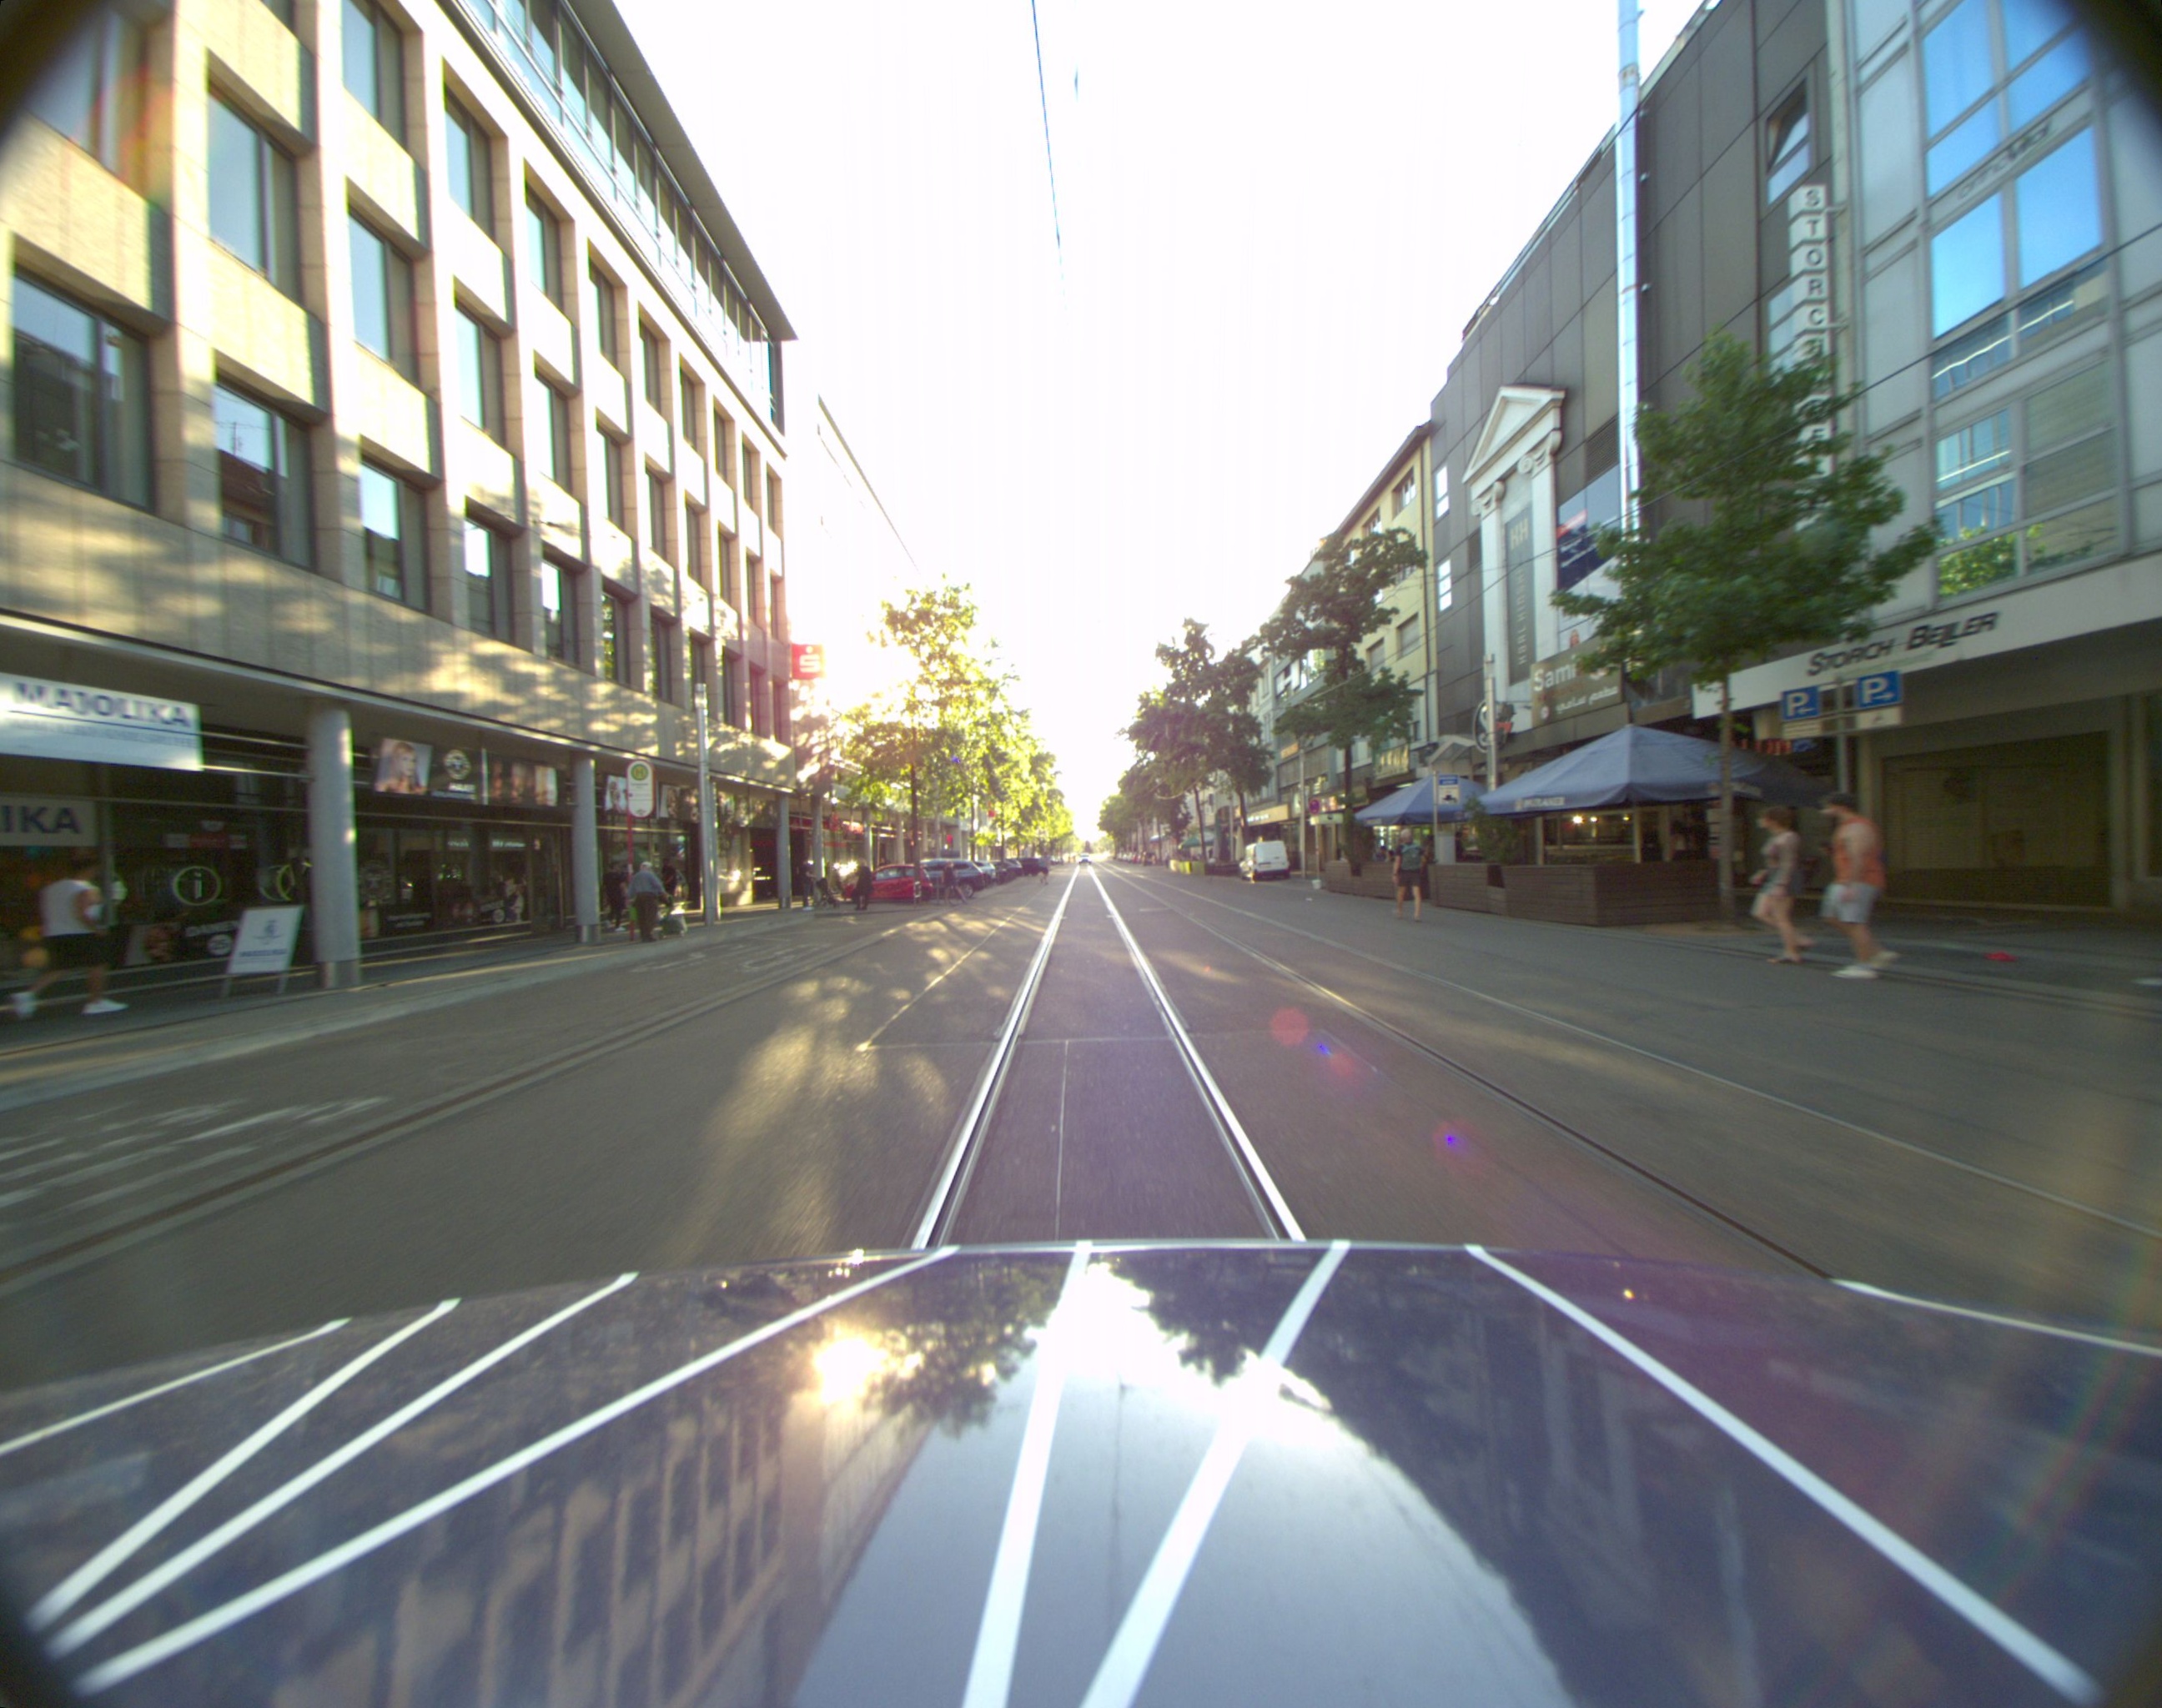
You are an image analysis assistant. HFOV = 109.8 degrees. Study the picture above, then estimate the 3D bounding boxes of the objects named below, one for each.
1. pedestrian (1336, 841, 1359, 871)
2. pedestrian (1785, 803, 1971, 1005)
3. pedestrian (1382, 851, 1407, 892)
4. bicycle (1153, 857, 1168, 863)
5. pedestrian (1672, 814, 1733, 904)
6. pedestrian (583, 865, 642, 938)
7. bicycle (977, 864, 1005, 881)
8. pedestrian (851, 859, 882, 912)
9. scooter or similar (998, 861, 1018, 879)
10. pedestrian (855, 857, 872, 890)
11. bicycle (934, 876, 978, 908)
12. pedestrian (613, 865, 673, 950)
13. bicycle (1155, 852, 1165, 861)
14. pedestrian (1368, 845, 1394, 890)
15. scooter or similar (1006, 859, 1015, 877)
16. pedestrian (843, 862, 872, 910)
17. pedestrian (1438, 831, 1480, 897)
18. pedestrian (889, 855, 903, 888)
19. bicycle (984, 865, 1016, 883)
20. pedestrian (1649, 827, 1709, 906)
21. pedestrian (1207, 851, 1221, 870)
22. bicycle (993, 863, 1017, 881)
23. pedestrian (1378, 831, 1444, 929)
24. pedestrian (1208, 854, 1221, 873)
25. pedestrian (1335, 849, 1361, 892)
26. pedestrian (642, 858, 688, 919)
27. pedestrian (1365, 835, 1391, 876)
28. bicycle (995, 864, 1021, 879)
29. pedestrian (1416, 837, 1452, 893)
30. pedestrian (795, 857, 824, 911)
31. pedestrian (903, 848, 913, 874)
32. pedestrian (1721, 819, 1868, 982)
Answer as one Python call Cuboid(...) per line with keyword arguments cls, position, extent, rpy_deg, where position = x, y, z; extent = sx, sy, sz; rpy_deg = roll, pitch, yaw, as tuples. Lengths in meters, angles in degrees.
Cuboid(cls="pedestrian", position=(13.447, 0.095, 38.310), extent=(0.771, 1.458, 0.765), rpy_deg=(-5, 1, -2))
Cuboid(cls="pedestrian", position=(7.316, 0.445, 7.034), extent=(0.850, 1.731, 0.836), rpy_deg=(-3, 1, 20))
Cuboid(cls="pedestrian", position=(9.573, 0.527, 23.197), extent=(0.496, 1.221, 0.535), rpy_deg=(-3, 1, 0))
Cuboid(cls="bicycle", position=(9.534, 0.729, 91.163), extent=(1.799, 0.605, 1.282), rpy_deg=(-3, 0, 4))
Cuboid(cls="pedestrian", position=(12.575, 0.101, 15.396), extent=(0.598, 1.735, 0.671), rpy_deg=(-4, 1, 1))
Cuboid(cls="pedestrian", position=(-10.745, 1.073, 17.441), extent=(0.697, 1.580, 0.925), rpy_deg=(-2, 1, 1))
Cuboid(cls="bicycle", position=(-6.013, 1.239, 50.840), extent=(1.697, 1.099, 0.631), rpy_deg=(1, 1, -26))
Cuboid(cls="pedestrian", position=(-6.909, 0.989, 24.492), extent=(0.679, 1.675, 0.697), rpy_deg=(1, 1, 34))
Cuboid(cls="scooter or similar", position=(-5.313, 1.145, 55.333), extent=(1.309, 1.269, 0.563), rpy_deg=(1, 1, -31))
Cuboid(cls="pedestrian", position=(-11.494, 1.015, 40.170), extent=(0.625, 1.733, 0.600), rpy_deg=(-1, 1, 6))
Cuboid(cls="bicycle", position=(-4.528, 1.352, 27.658), extent=(0.719, 0.989, 2.061), rpy_deg=(-4, 0, 15))
Cuboid(cls="pedestrian", position=(-8.436, 1.019, 14.666), extent=(0.683, 1.563, 0.632), rpy_deg=(-4, 1, 1))
Cuboid(cls="bicycle", position=(11.108, 0.368, 106.408), extent=(0.760, 1.115, 2.045), rpy_deg=(-5, 1, -11))
Cuboid(cls="pedestrian", position=(9.660, 0.435, 24.486), extent=(0.551, 1.421, 0.582), rpy_deg=(-3, 1, 0))
Cuboid(cls="scooter or similar", position=(-5.036, 0.983, 54.351), extent=(0.452, 1.269, 1.306), rpy_deg=(2, 1, -1))
Cuboid(cls="pedestrian", position=(-7.411, 1.048, 25.189), extent=(0.606, 1.543, 0.691), rpy_deg=(1, 1, 44))
Cuboid(cls="pedestrian", position=(10.199, 0.261, 20.521), extent=(0.719, 1.714, 0.675), rpy_deg=(-3, 1, -1))
Cuboid(cls="pedestrian", position=(-9.931, 0.945, 40.837), extent=(0.626, 1.733, 0.599), rpy_deg=(-1, 1, -2))
Cuboid(cls="bicycle", position=(-5.168, 1.249, 48.561), extent=(1.899, 1.113, 0.666), rpy_deg=(0, 1, -29))
Cuboid(cls="pedestrian", position=(12.011, 0.241, 15.283), extent=(0.598, 1.524, 0.671), rpy_deg=(-4, 1, 1))
Cuboid(cls="pedestrian", position=(9.508, 0.459, 54.453), extent=(0.756, 1.335, 0.872), rpy_deg=(-5, 1, 0))
Cuboid(cls="bicycle", position=(-5.057, 1.206, 50.630), extent=(0.480, 1.157, 1.698), rpy_deg=(2, 1, 40))
Cuboid(cls="pedestrian", position=(6.379, 0.486, 14.726), extent=(0.843, 1.790, 0.790), rpy_deg=(-4, 1, 1))
Cuboid(cls="pedestrian", position=(8.895, 0.620, 50.746), extent=(0.658, 1.186, 0.798), rpy_deg=(-5, 1, 0))
Cuboid(cls="pedestrian", position=(8.624, 0.537, 24.565), extent=(0.551, 1.348, 0.582), rpy_deg=(-3, 1, 0))
Cuboid(cls="pedestrian", position=(-12.445, 1.017, 22.745), extent=(0.846, 1.774, 0.782), rpy_deg=(-2, 1, 1))
Cuboid(cls="pedestrian", position=(12.868, 0.066, 32.941), extent=(0.668, 1.676, 1.005), rpy_deg=(-4, 1, 0))
Cuboid(cls="bicycle", position=(-5.100, 1.223, 52.831), extent=(1.566, 1.082, 0.867), rpy_deg=(1, -1, -30))
Cuboid(cls="pedestrian", position=(10.367, 0.317, 22.336), extent=(0.675, 1.598, 0.719), rpy_deg=(-3, 1, 0))
Cuboid(cls="pedestrian", position=(-8.776, 0.950, 24.593), extent=(0.687, 1.721, 0.634), rpy_deg=(1, 1, 42))
Cuboid(cls="pedestrian", position=(-11.883, 0.471, 52.195), extent=(0.558, 1.740, 0.525), rpy_deg=(0, 1, 1))
Cuboid(cls="pedestrian", position=(7.514, 0.478, 8.048), extent=(0.850, 1.628, 0.763), rpy_deg=(-3, 1, 20))
